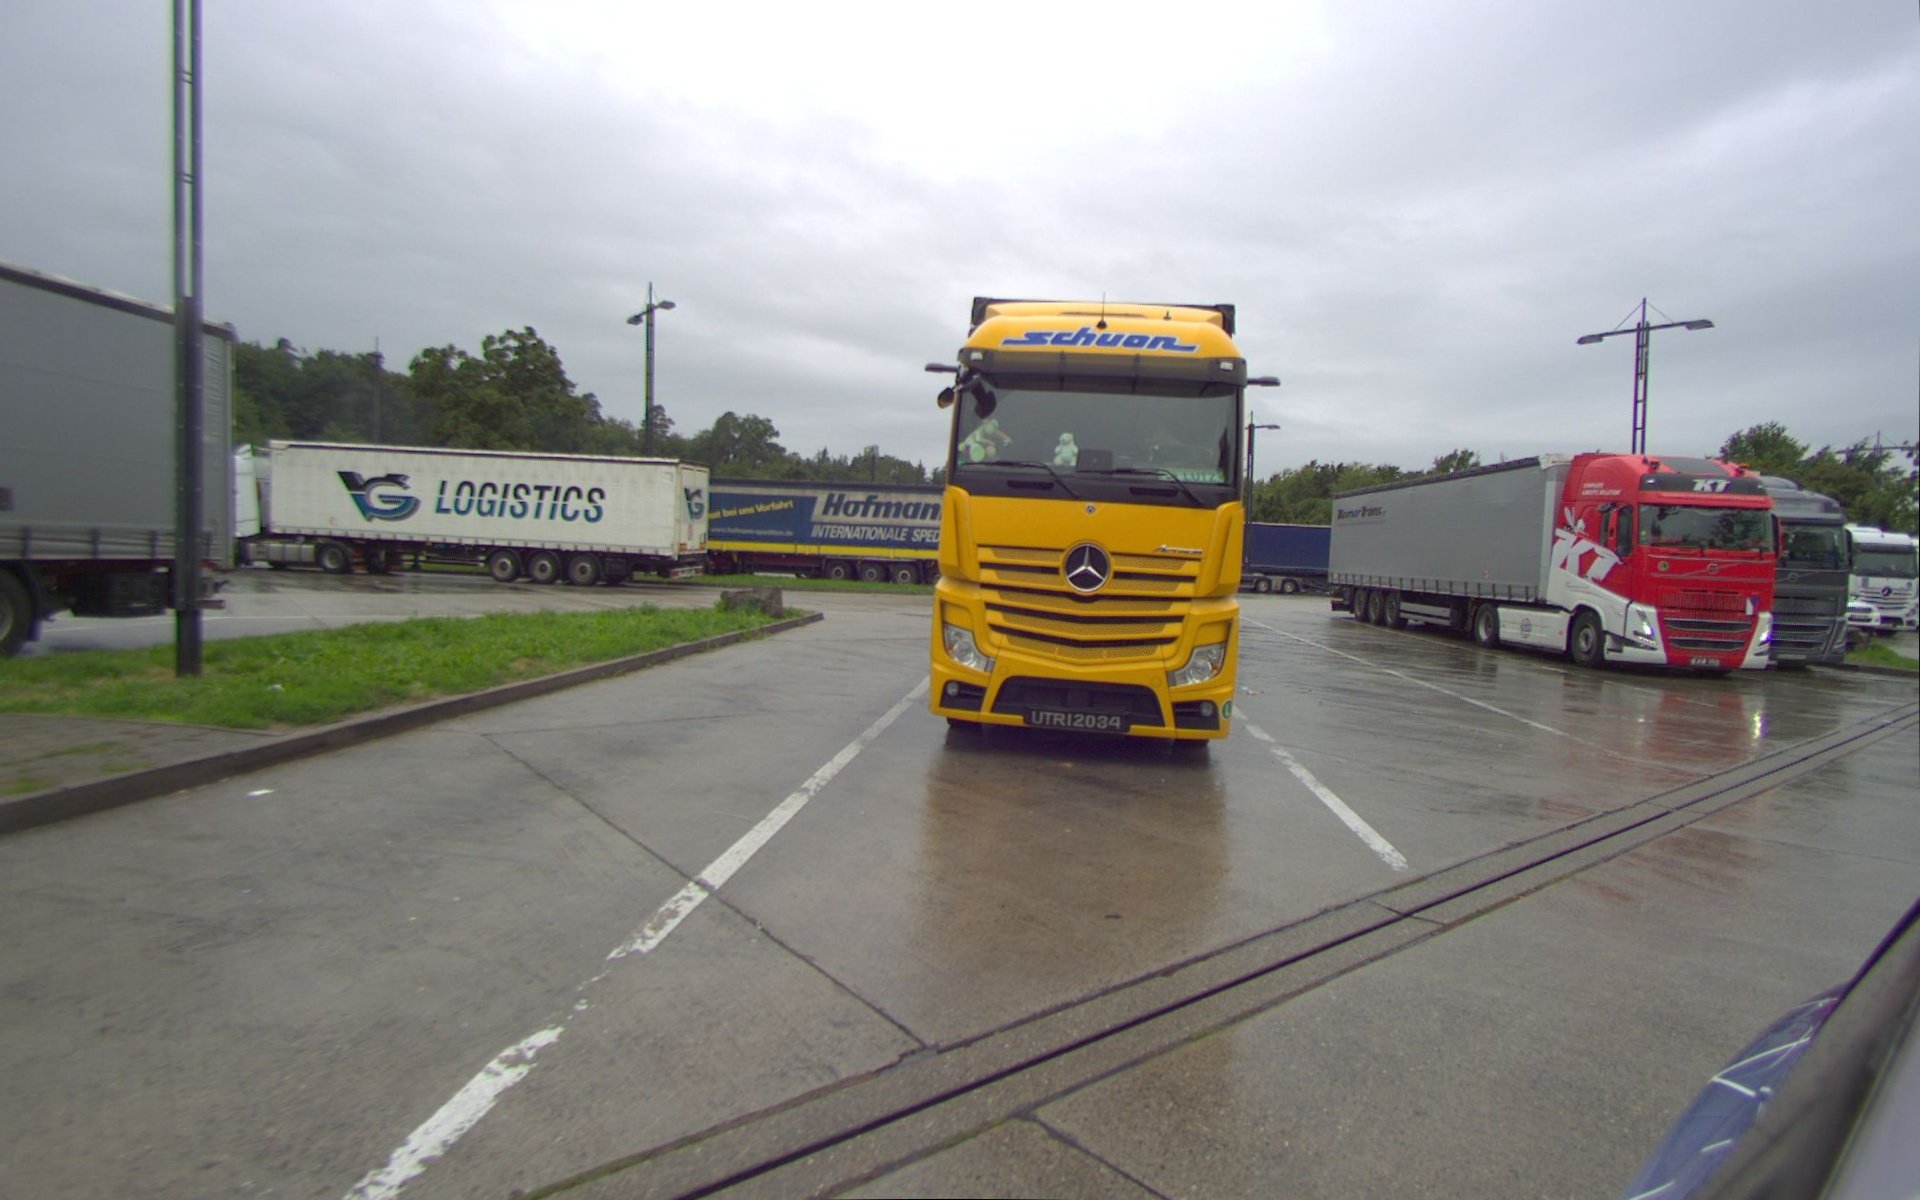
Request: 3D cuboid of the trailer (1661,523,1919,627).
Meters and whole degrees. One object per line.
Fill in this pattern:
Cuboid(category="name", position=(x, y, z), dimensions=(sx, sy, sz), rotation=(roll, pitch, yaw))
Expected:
Cuboid(category="trailer", position=(41.312, -1.315, 50.441), dimensions=(3.187, 4.440, 14.390), rotation=(1, 2, 3))

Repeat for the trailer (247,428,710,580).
Cuboid(category="trailer", position=(-15.088, -2.870, 31.954), dimensions=(13.920, 4.311, 2.664), rotation=(0, 0, 6))

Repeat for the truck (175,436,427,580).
Cuboid(category="truck", position=(-21.156, -2.849, 32.658), dimensions=(6.666, 4.329, 2.664), rotation=(0, 0, 6))

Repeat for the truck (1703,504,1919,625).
Cuboid(category="truck", position=(33.268, -1.412, 39.195), dimensions=(3.187, 4.140, 7.936), rotation=(2, 3, 3))

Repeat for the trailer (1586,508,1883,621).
Cuboid(category="trailer", position=(33.592, -1.684, 45.216), dimensions=(3.187, 4.140, 13.530), rotation=(2, 3, 3))

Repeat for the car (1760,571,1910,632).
Cuboid(category="car", position=(29.639, -0.007, 34.468), dimensions=(1.816, 1.881, 3.995), rotation=(2, 2, 5))

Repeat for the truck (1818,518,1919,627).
Cuboid(category="truck", position=(40.962, -1.154, 43.491), dimensions=(3.187, 4.440, 5.811), rotation=(2, 2, 3))

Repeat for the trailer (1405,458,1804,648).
Cuboid(category="trailer", position=(16.863, -1.348, 28.671), dimensions=(2.824, 3.966, 13.932), rotation=(2, 3, 3))

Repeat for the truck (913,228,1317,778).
Cuboid(category="truck", position=(1.585, -0.929, 11.535), dimensions=(2.792, 3.966, 8.119), rotation=(3, 3, 7))

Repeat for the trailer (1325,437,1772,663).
Cuboid(category="trailer", position=(13.289, -1.264, 25.733), dimensions=(3.187, 3.966, 14.827), rotation=(2, 3, 3))

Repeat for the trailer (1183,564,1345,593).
Cuboid(category="trailer", position=(16.308, -1.214, 54.806), dimensions=(7.825, 1.305, 3.242), rotation=(2, 2, 6))

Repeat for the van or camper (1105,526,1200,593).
Cuboid(category="van or camper", position=(9.703, -2.007, 51.441), dimensions=(4.528, 3.278, 2.266), rotation=(0, 0, 7))

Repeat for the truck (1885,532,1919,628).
Cuboid(category="truck", position=(45.706, -0.888, 46.238), dimensions=(2.559, 4.440, 4.627), rotation=(1, 2, 3))

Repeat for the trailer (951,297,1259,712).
Cuboid(category="trailer", position=(2.313, -1.340, 18.165), dimensions=(2.820, 3.966, 16.612), rotation=(2, 3, 6))

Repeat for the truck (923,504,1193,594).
Cuboid(category="truck", position=(5.294, -2.831, 55.934), dimensions=(14.318, 4.440, 3.473), rotation=(2, 2, 7))

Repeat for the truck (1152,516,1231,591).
Cuboid(category="truck", position=(14.351, -2.891, 63.057), dimensions=(4.320, 4.440, 3.093), rotation=(2, 2, 6))

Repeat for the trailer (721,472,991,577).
Cuboid(category="trailer", position=(-3.956, -2.853, 39.237), dimensions=(10.203, 3.803, 2.067), rotation=(0, 0, 5))

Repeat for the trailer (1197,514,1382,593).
Cuboid(category="trailer", position=(20.122, -2.873, 62.436), dimensions=(10.279, 4.440, 3.093), rotation=(2, 2, 6))

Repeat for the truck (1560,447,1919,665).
Cuboid(category="truck", position=(16.544, -0.984, 22.257), dimensions=(2.847, 3.966, 6.554), rotation=(2, 3, 3))

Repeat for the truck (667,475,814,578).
Cuboid(category="truck", position=(-8.545, -2.820, 39.602), dimensions=(5.244, 3.803, 2.067), rotation=(0, 0, 5))

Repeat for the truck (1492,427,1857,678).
Cuboid(category="truck", position=(12.930, -0.905, 19.001), dimensions=(3.187, 3.966, 5.020), rotation=(2, 3, 3))

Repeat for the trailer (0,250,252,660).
Cuboid(category="trailer", position=(-11.075, -1.275, 6.102), dimensions=(2.795, 3.966, 13.941), rotation=(2, 3, 5))

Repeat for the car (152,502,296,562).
Cuboid(category="car", position=(-37.410, -3.377, 51.749), dimensions=(2.205, 2.668, 6.644), rotation=(0, 0, 4))
